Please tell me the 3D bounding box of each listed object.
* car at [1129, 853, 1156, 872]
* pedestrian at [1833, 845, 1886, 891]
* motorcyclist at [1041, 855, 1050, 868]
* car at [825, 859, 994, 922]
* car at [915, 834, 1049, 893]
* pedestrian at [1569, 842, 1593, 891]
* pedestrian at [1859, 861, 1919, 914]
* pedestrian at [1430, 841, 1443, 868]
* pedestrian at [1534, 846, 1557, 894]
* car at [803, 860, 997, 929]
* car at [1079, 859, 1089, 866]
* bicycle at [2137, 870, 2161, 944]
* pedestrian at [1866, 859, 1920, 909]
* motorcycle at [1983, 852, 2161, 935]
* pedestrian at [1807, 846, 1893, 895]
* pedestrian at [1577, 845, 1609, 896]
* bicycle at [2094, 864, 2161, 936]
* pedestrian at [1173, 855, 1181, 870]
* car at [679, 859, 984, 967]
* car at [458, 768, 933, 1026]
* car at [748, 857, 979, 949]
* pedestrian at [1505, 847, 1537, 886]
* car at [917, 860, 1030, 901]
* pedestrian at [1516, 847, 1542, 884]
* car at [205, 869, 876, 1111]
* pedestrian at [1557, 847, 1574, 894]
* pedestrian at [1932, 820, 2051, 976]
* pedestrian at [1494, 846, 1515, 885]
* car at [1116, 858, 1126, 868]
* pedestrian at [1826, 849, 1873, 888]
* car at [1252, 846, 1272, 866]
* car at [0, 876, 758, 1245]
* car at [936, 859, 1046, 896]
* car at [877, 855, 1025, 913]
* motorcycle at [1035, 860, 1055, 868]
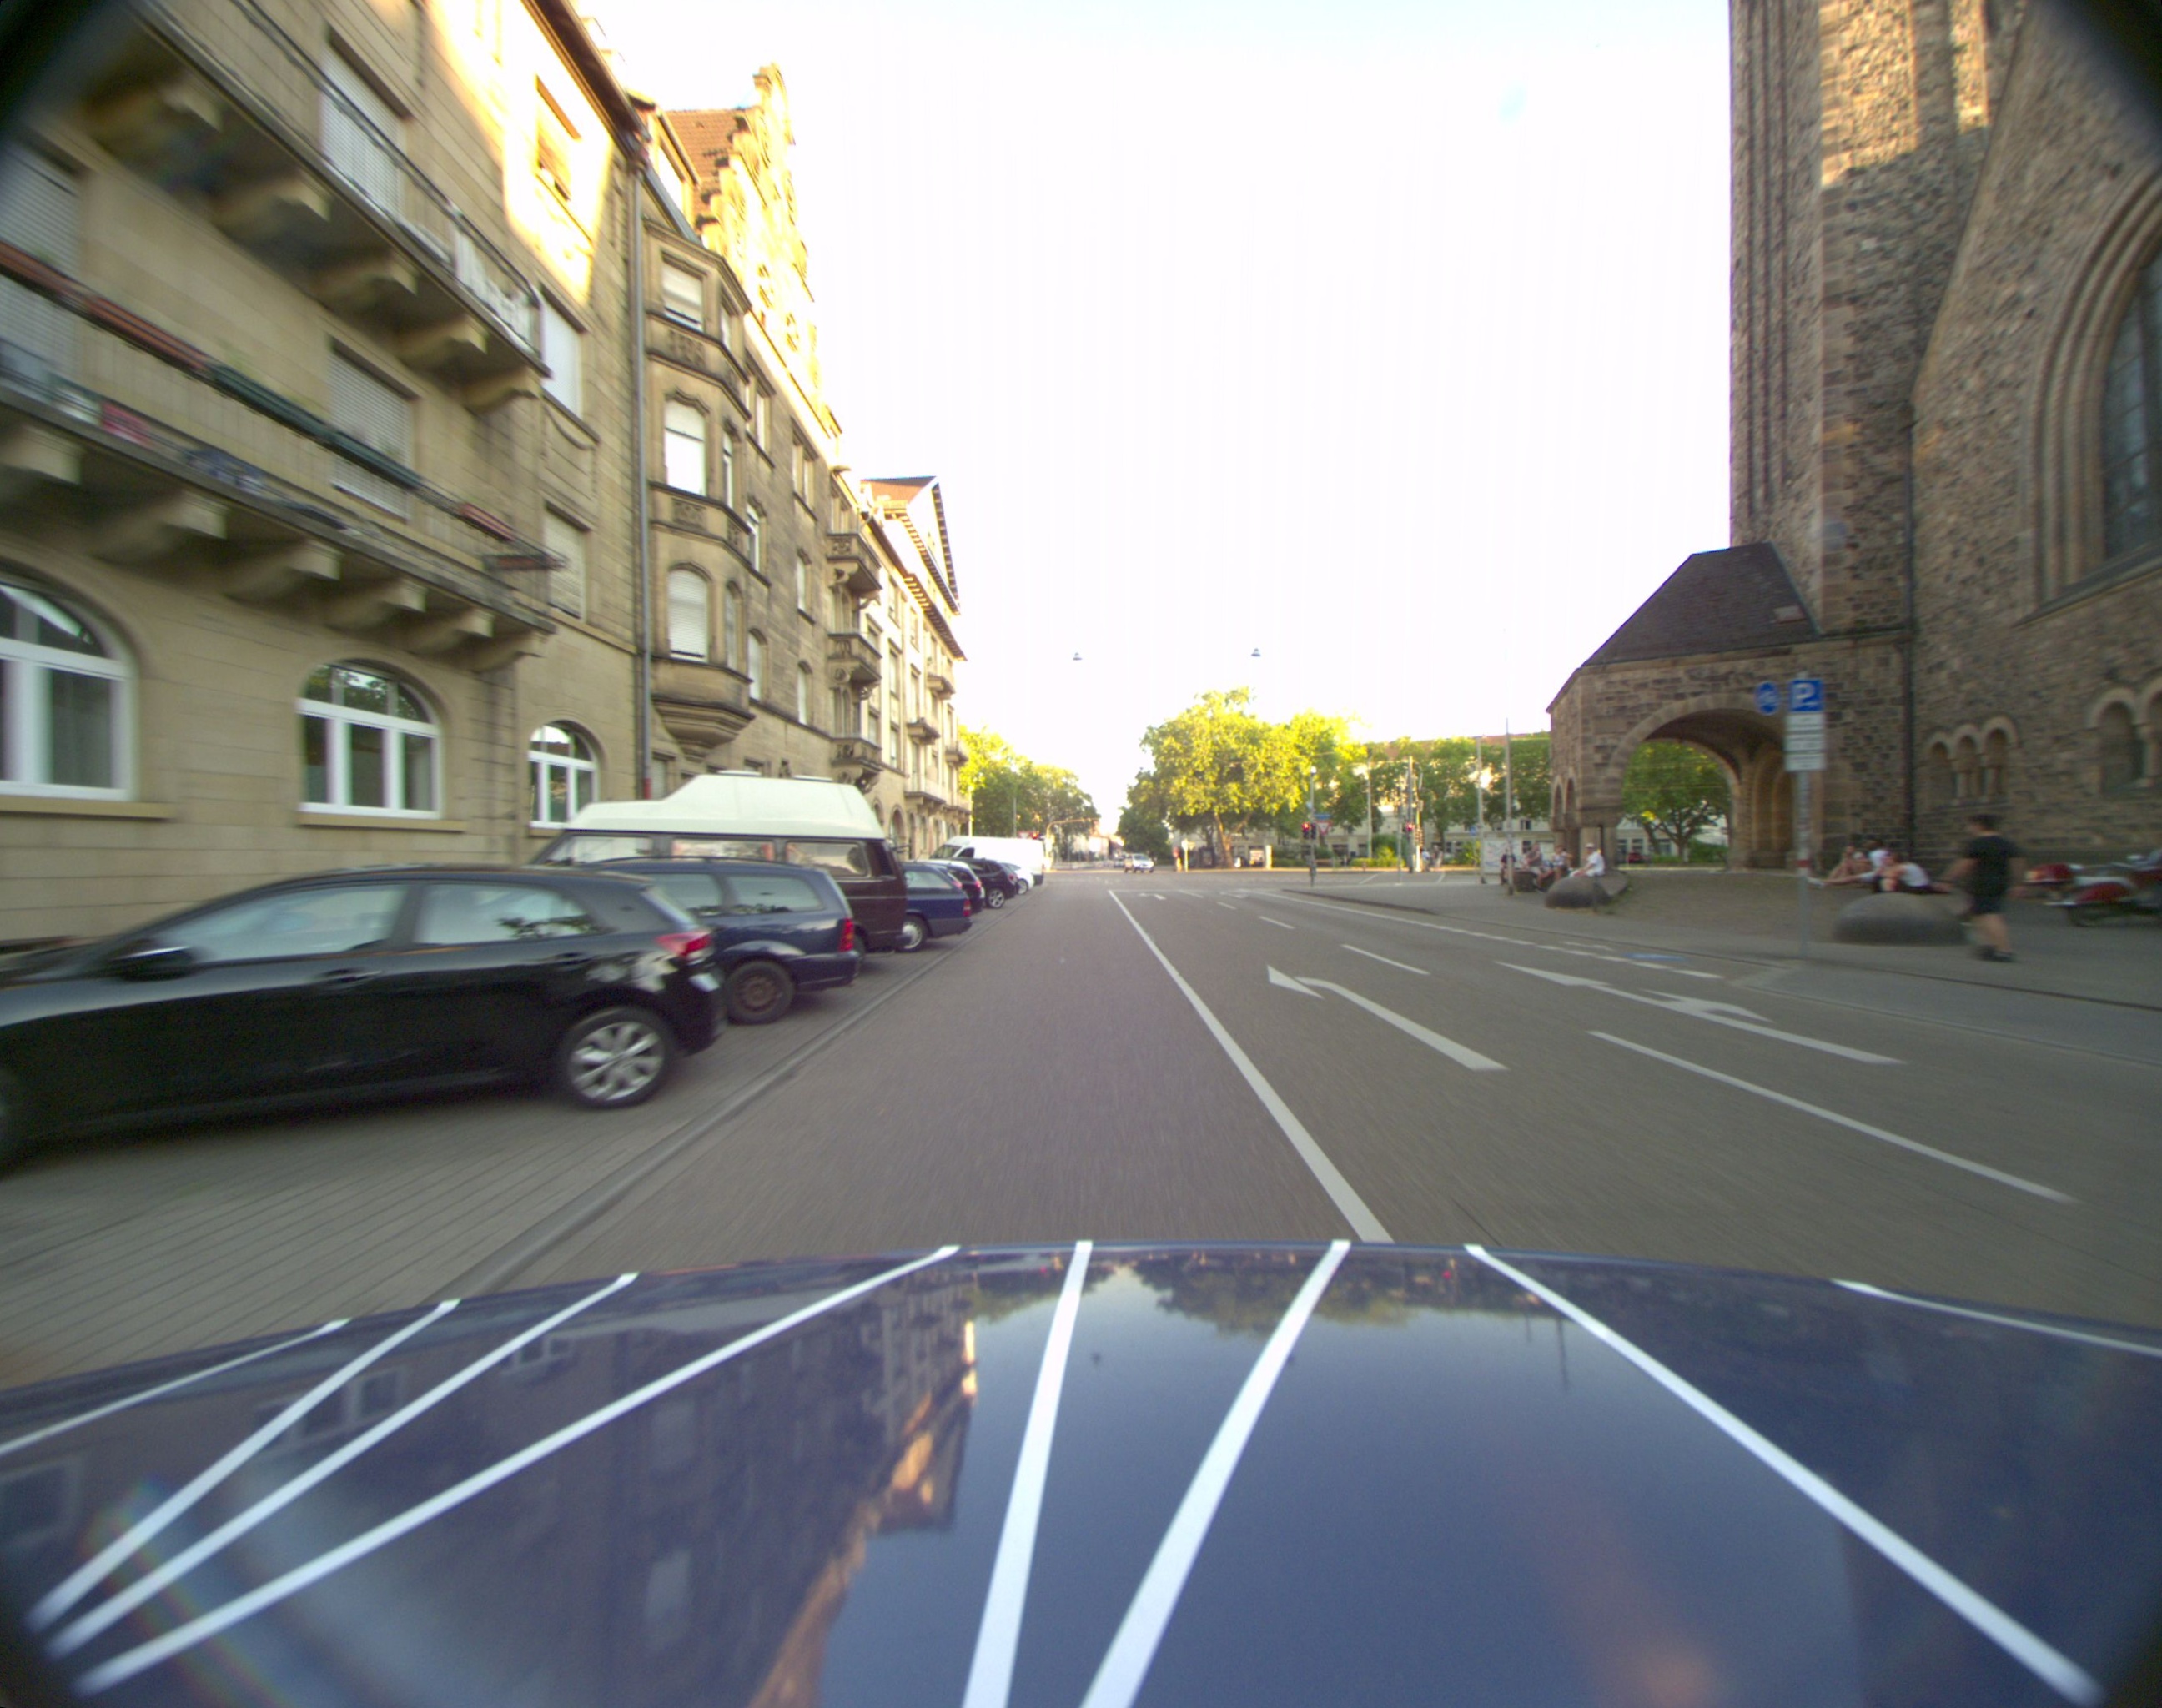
[{"bbox_3d":[5.378,0.721,67.058,1.841,1.549,3.999,-1,0,-4],"label":"car"},{"bbox_3d":[18.368,0.319,17.930,0.649,1.069,0.828,-1,1,-39],"label":"pedestrian"},{"bbox_3d":[-4.123,0.831,88.490,0.830,1.510,0.622,-1,0,-25],"label":"motorcyclist"},{"bbox_3d":[-4.578,0.939,20.469,4.066,1.489,1.749,1,0,-35],"label":"car"},{"bbox_3d":[-4.525,0.400,35.339,5.897,2.537,2.189,0,2,-40],"label":"car"},{"bbox_3d":[14.417,0.358,21.909,0.546,1.398,0.459,0,1,36],"label":"pedestrian"},{"bbox_3d":[15.650,0.634,14.723,0.562,0.986,0.694,-1,0,-33],"label":"pedestrian"},{"bbox_3d":[24.730,0.053,52.910,0.709,1.836,1.161,-1,0,21],"label":"pedestrian"},{"bbox_3d":[14.020,0.473,22.919,0.549,1.445,0.559,0,1,36],"label":"pedestrian"},{"bbox_3d":[-4.248,0.921,18.003,4.042,1.423,1.863,2,0,-33],"label":"car"},{"bbox_3d":[0.656,1.821,164.953,1.794,1.571,4.001,-1,0,4],"label":"car"},{"bbox_3d":[15.446,0.658,9.906,2.004,0.983,0.586,-4,0,16],"label":"bicycle"},{"bbox_3d":[16.128,0.587,15.099,0.562,0.962,0.648,-1,1,-33],"label":"pedestrian"},{"bbox_3d":[15.544,0.590,11.580,2.420,1.119,0.822,-3,0,4],"label":"motorcycle"},{"bbox_3d":[17.764,0.376,17.568,0.686,1.088,1.329,-1,0,-39],"label":"pedestrian"},{"bbox_3d":[14.346,0.462,21.291,0.702,1.398,0.633,0,1,36],"label":"pedestrian"},{"bbox_3d":[15.727,0.635,10.599,2.004,0.983,0.586,-1,0,14],"label":"bicycle"},{"bbox_3d":[10.587,0.940,83.523,0.745,1.619,0.660,-1,0,18],"label":"pedestrian"},{"bbox_3d":[-3.990,0.877,12.341,4.406,1.478,1.839,2,0,-30],"label":"car"},{"bbox_3d":[-4.437,0.388,9.414,4.732,2.532,1.914,-1,1,-28],"label":"car"},{"bbox_3d":[-4.305,0.876,15.072,4.128,1.537,1.790,0,2,-27],"label":"car"},{"bbox_3d":[15.913,0.442,27.477,0.701,1.366,0.801,-1,1,-38],"label":"pedestrian"},{"bbox_3d":[-4.136,0.996,29.472,3.925,1.438,1.869,1,1,-39],"label":"car"},{"bbox_3d":[16.629,0.421,28.200,0.801,1.366,0.701,0,1,34],"label":"pedestrian"},{"bbox_3d":[-4.289,0.943,6.894,4.363,1.494,1.909,-1,0,-27],"label":"car"},{"bbox_3d":[14.498,0.482,22.730,0.401,1.398,0.549,0,1,36],"label":"pedestrian"},{"bbox_3d":[10.562,0.486,8.843,0.714,1.715,0.693,0,1,33],"label":"pedestrian"},{"bbox_3d":[15.862,0.431,28.471,0.628,1.445,0.917,0,1,27],"label":"pedestrian"},{"bbox_3d":[7.671,1.741,145.199,1.991,1.945,4.597,-1,0,4],"label":"car"},{"bbox_3d":[18.743,0.345,18.533,0.649,0.910,0.738,-1,1,-39],"label":"pedestrian"},{"bbox_3d":[18.905,0.198,79.358,1.865,2.002,3.815,-1,0,15],"label":"car"},{"bbox_3d":[-4.245,0.939,4.513,4.076,1.483,1.720,-1,0,-30],"label":"car"},{"bbox_3d":[-3.835,0.979,32.616,4.263,1.445,1.994,1,1,-38],"label":"car"},{"bbox_3d":[-3.977,0.890,23.544,4.107,1.598,1.811,1,0,-37],"label":"car"},{"bbox_3d":[-4.175,1.173,88.463,2.288,0.917,0.622,-1,0,-25],"label":"motorcycle"}]
